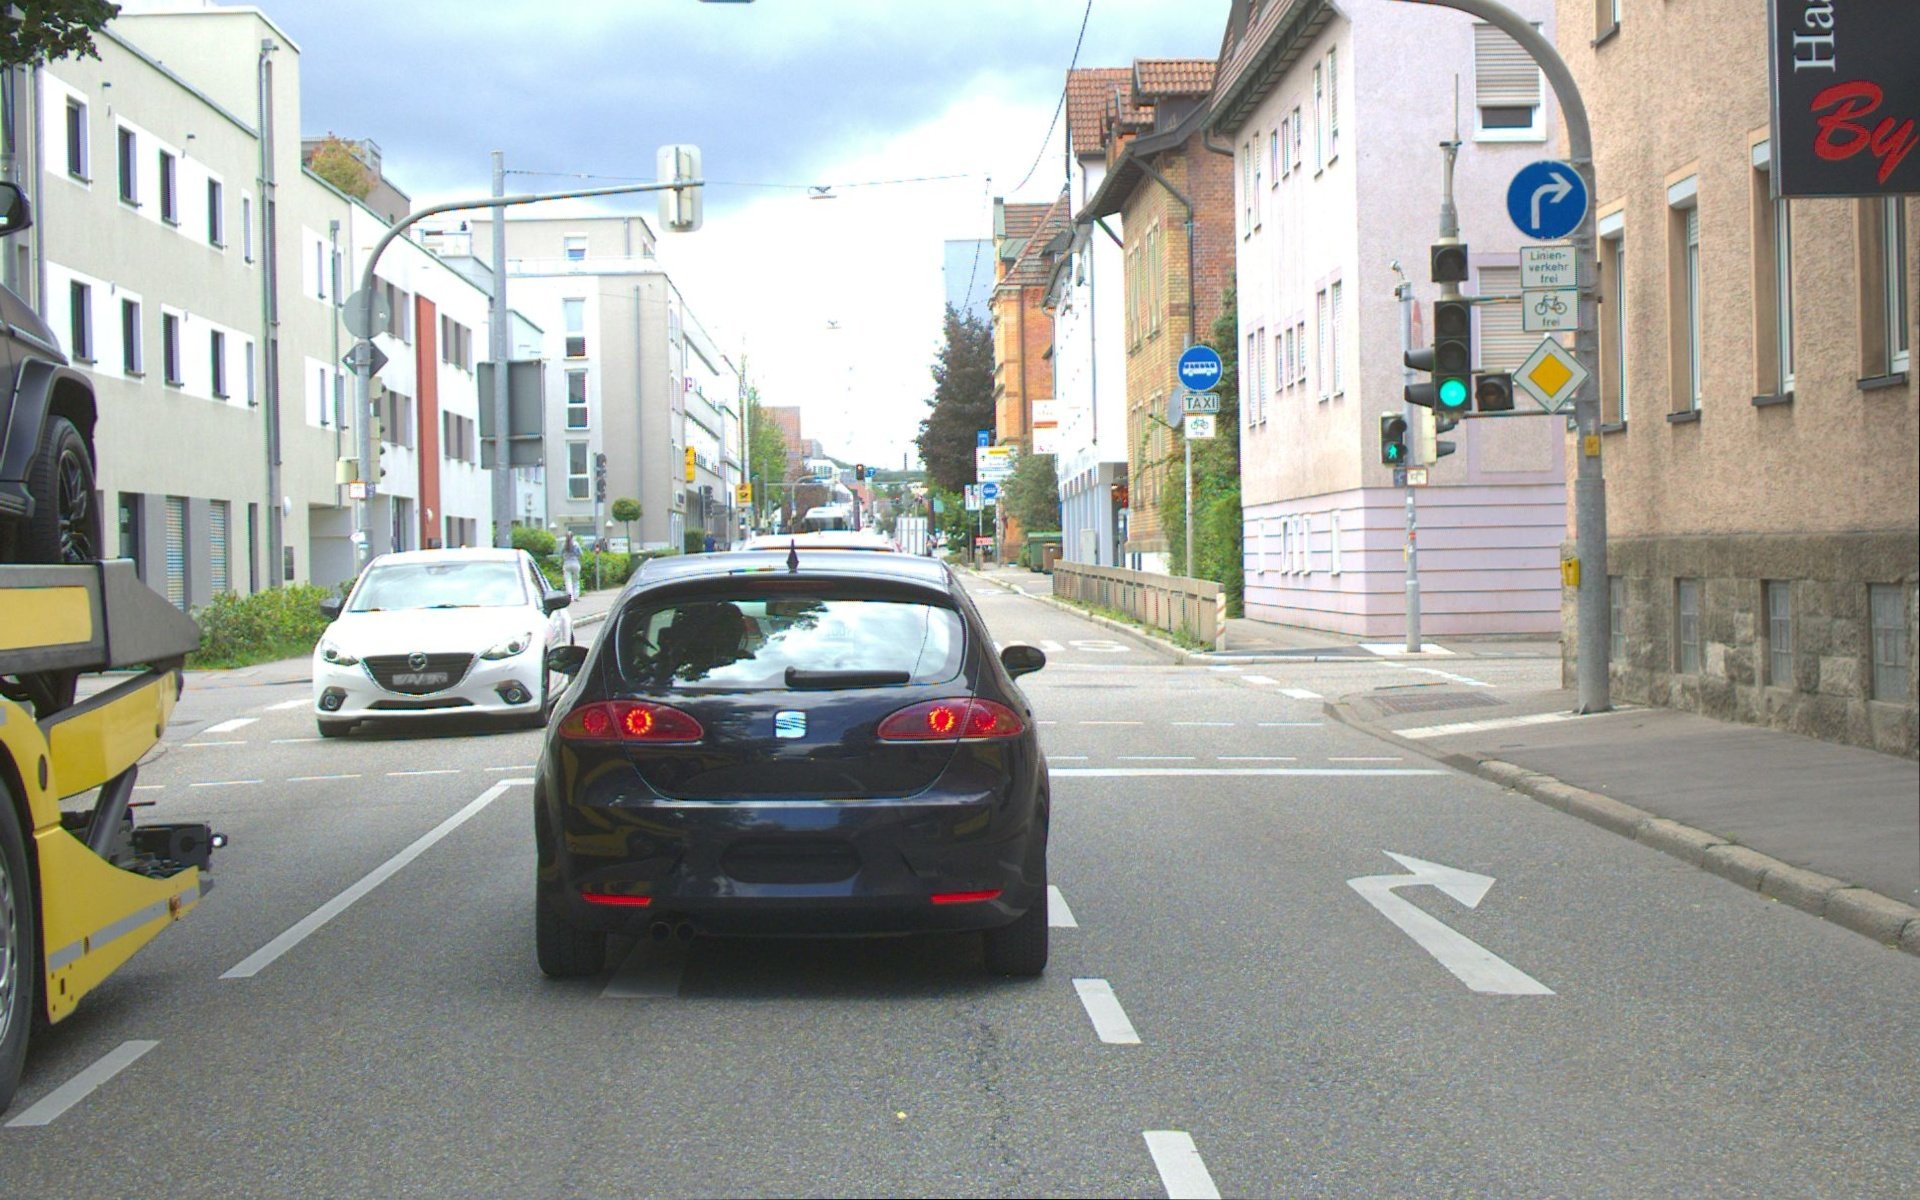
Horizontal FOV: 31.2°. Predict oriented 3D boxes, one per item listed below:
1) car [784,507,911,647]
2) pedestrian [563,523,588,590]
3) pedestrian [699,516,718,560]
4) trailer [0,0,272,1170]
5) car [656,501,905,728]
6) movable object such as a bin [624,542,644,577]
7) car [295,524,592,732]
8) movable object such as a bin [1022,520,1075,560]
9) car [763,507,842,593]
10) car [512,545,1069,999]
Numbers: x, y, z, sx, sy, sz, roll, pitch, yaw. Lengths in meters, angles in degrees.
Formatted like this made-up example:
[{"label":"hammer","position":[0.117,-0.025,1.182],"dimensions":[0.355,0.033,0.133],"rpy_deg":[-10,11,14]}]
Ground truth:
[{"label":"car","position":[-1.411,-0.305,43.238],"dimensions":[1.531,1.687,3.693],"rpy_deg":[0,1,-2]},{"label":"pedestrian","position":[-8.943,-1.009,79.991],"dimensions":[0.526,1.542,0.541],"rpy_deg":[0,1,-1]},{"label":"pedestrian","position":[-9.904,-2.441,135.276],"dimensions":[0.730,1.723,0.859],"rpy_deg":[0,1,-2]},{"label":"trailer","position":[-3.777,-0.411,5.283],"dimensions":[2.858,3.795,14.392],"rpy_deg":[0,1,-1]},{"label":"car","position":[-1.391,0.080,27.502],"dimensions":[1.842,1.687,4.000],"rpy_deg":[0,1,-2]},{"label":"movable object such as a bin","position":[-10.071,-1.259,106.277],"dimensions":[0.549,1.075,0.612],"rpy_deg":[0,1,0]},{"label":"car","position":[-4.146,0.182,28.208],"dimensions":[1.767,1.465,4.227],"rpy_deg":[-4,1,-1]},{"label":"movable object such as a bin","position":[3.180,-2.158,123.728],"dimensions":[1.818,1.432,1.993],"rpy_deg":[0,1,0]},{"label":"car","position":[-3.159,-1.007,69.393],"dimensions":[1.531,1.687,3.693],"rpy_deg":[0,1,-2]},{"label":"car","position":[-0.586,0.516,12.878],"dimensions":[1.759,1.437,4.000],"rpy_deg":[0,1,-1]}]
